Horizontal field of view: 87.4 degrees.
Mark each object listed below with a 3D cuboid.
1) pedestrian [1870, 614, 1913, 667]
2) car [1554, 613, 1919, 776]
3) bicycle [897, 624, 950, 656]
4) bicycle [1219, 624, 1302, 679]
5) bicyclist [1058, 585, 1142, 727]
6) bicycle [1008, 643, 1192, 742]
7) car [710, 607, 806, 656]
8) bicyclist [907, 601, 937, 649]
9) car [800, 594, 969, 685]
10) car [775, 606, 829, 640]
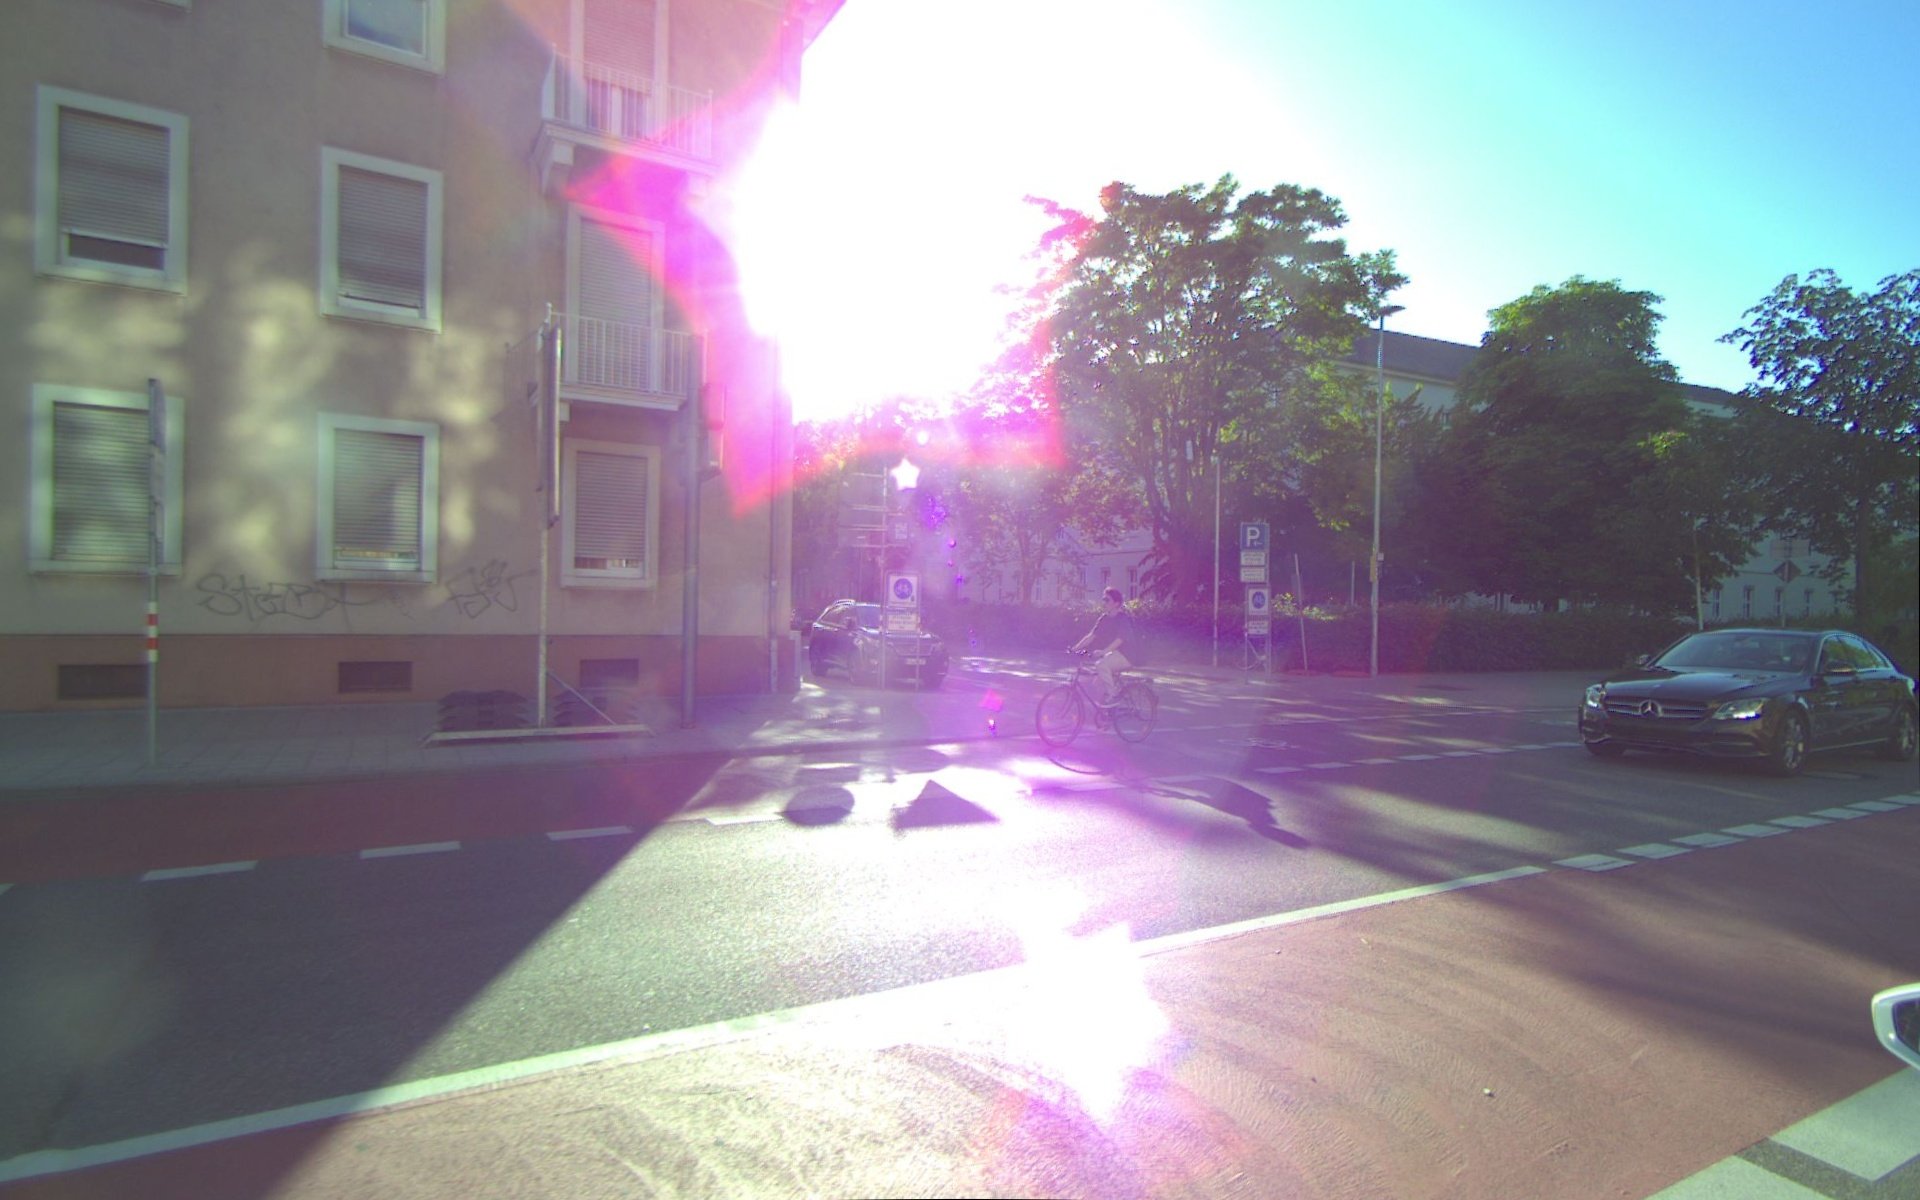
[{"bbox_3d":[33.482,1.460,36.118,0.988,1.876,0.853,2,-1,-26],"label":"pedestrian"},{"bbox_3d":[8.627,0.910,10.943,4.502,1.438,1.802,2,-1,-31],"label":"car"},{"bbox_3d":[-1.192,1.273,32.134,0.732,1.009,2.090,2,-2,-32],"label":"bicycle"},{"bbox_3d":[7.439,1.252,25.008,0.553,1.246,2.312,1,-1,-25],"label":"bicycle"},{"bbox_3d":[1.545,0.616,11.141,0.657,1.504,0.653,1,-3,-31],"label":"bicyclist"},{"bbox_3d":[1.579,0.984,11.128,2.085,1.009,0.648,2,-2,-31],"label":"bicycle"},{"bbox_3d":[-6.482,0.977,31.870,1.933,1.439,4.171,2,-1,-27],"label":"car"},{"bbox_3d":[-1.209,0.802,32.180,0.732,1.505,0.659,2,-2,-33],"label":"bicyclist"},{"bbox_3d":[-1.738,0.786,21.399,2.034,1.700,4.559,2,-1,-26],"label":"car"},{"bbox_3d":[-8.392,1.200,53.228,1.790,1.699,3.720,2,-1,-26],"label":"car"}]
